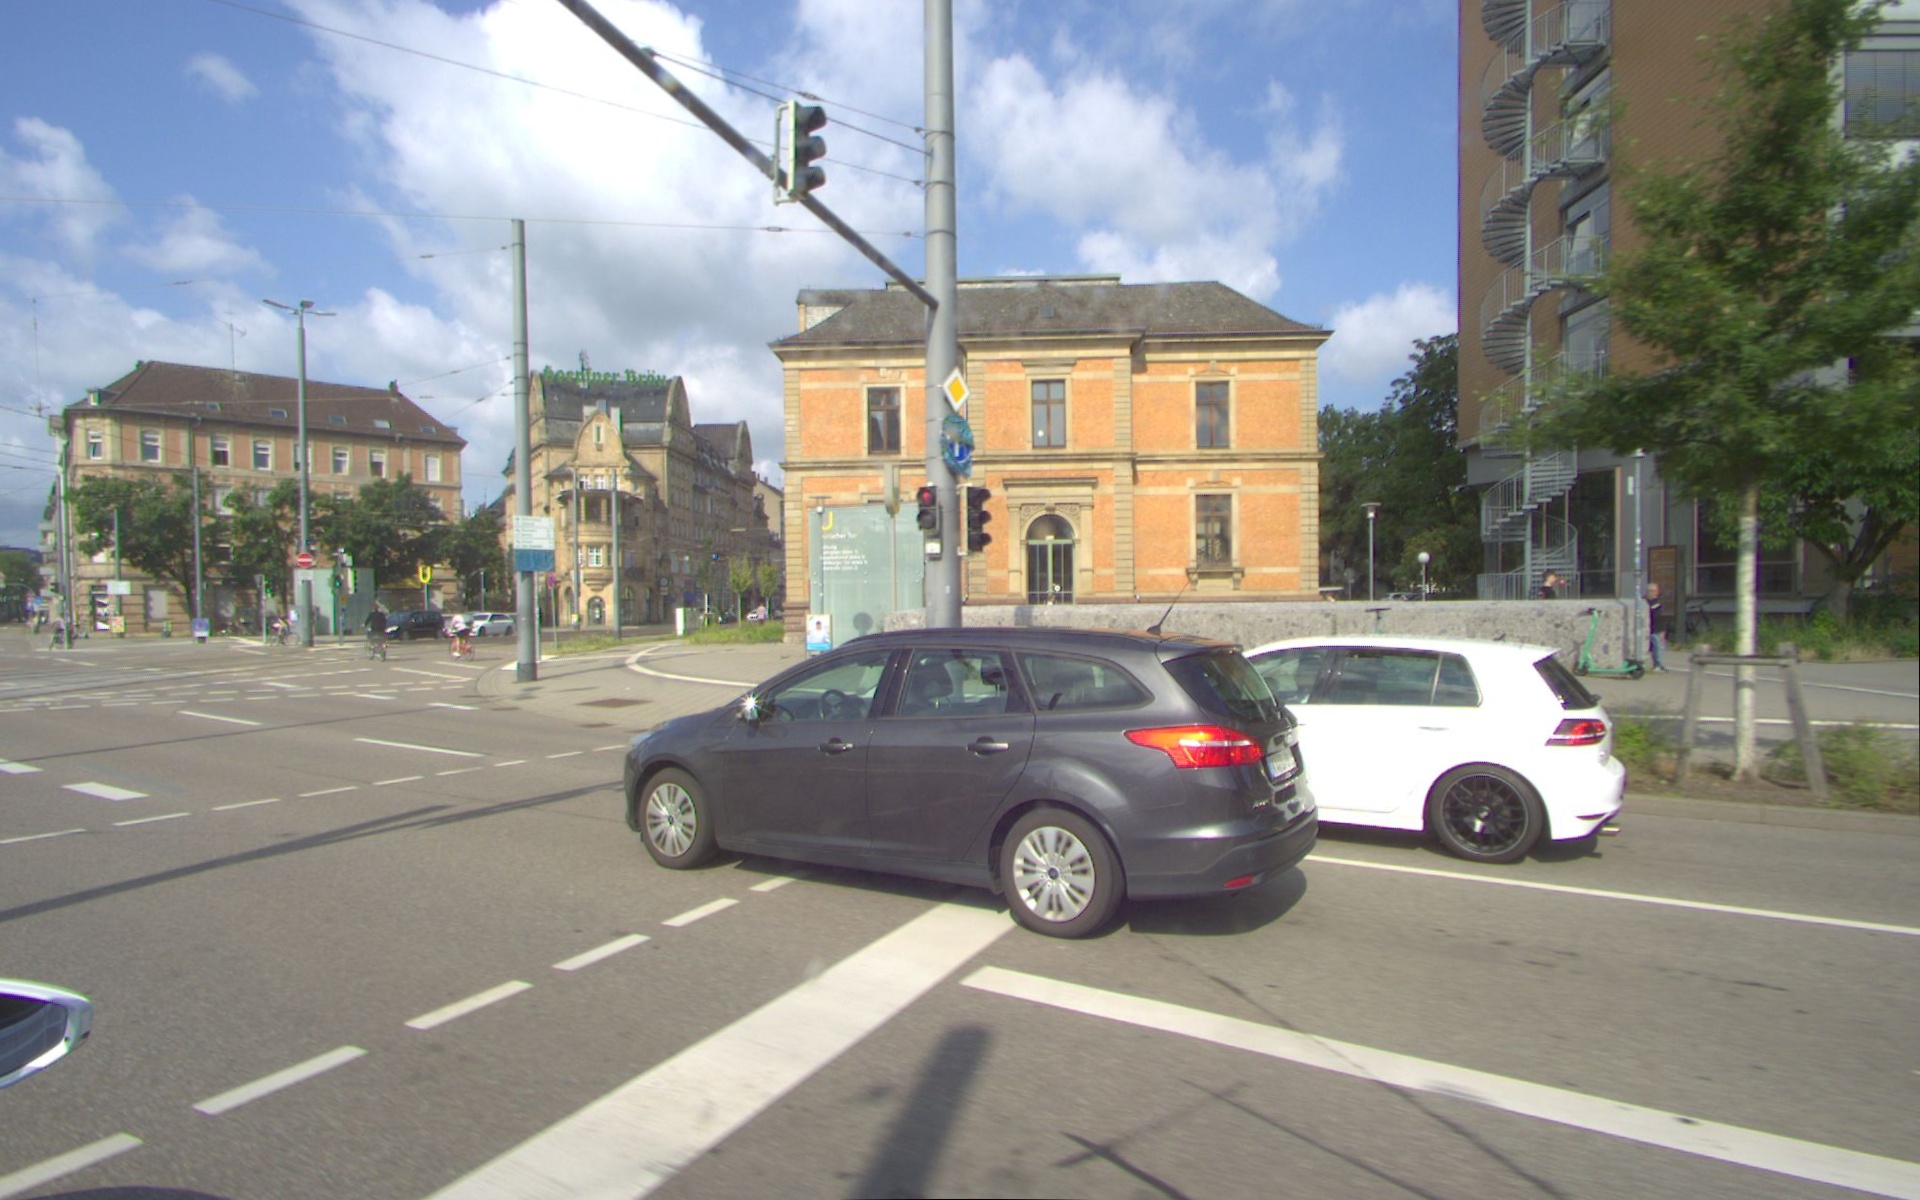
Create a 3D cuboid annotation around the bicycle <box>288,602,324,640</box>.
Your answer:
[{"bbox_3d":[-31.056,0.998,47.551,1.612,1.801,0.728,0,1,29],"label":"bicycle"}]

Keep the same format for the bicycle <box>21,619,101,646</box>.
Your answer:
[{"bbox_3d":[-42.513,1.522,47.399,0.886,1.186,2.673,0,0,23],"label":"bicycle"}]

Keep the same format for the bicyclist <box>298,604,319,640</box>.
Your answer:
[{"bbox_3d":[-30.861,1.038,47.417,0.646,1.693,0.571,0,1,29],"label":"bicyclist"}]

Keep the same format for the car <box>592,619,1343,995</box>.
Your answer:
[{"bbox_3d":[-0.076,0.894,5.982,4.193,1.548,1.765,-1,-1,31],"label":"car"}]

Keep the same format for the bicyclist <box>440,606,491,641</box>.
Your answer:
[{"bbox_3d":[-15.793,0.771,31.986,1.198,1.040,0.989,-4,-4,31],"label":"bicyclist"}]

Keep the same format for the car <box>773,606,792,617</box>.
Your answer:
[{"bbox_3d":[-25.978,1.608,146.511,1.815,1.559,3.821,-1,0,3],"label":"car"}]

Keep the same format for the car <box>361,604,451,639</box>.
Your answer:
[{"bbox_3d":[-28.681,1.159,52.014,1.961,1.761,4.343,0,-2,5],"label":"car"}]

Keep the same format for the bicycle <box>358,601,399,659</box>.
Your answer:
[{"bbox_3d":[-18.251,0.958,31.407,0.995,1.747,2.455,1,-2,-33],"label":"bicycle"}]

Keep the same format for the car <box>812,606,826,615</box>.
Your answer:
[{"bbox_3d":[-24.714,1.760,175.550,1.815,1.559,3.821,-1,0,3],"label":"car"}]

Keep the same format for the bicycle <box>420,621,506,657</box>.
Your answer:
[{"bbox_3d":[-15.913,1.274,32.043,3.065,1.040,0.992,-3,-4,32],"label":"bicycle"}]

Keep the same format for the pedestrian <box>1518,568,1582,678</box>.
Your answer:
[{"bbox_3d":[11.313,0.431,19.232,0.792,2.041,0.724,-2,2,6],"label":"pedestrian"}]

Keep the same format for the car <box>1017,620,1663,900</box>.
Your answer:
[{"bbox_3d":[2.673,0.979,7.533,4.172,1.464,1.677,1,-2,33],"label":"car"}]

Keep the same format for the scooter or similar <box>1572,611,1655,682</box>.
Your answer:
[{"bbox_3d":[11.081,0.773,17.007,0.396,1.146,1.184,-1,1,-19],"label":"scooter or similar"}]

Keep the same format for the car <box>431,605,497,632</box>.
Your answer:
[{"bbox_3d":[-30.725,1.114,62.151,1.721,1.621,3.999,-1,0,6],"label":"car"}]

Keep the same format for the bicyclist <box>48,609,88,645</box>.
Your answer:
[{"bbox_3d":[-42.428,1.264,47.627,0.773,1.680,1.194,0,0,23],"label":"bicyclist"}]

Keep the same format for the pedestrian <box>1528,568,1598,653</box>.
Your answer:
[{"bbox_3d":[11.938,0.188,19.829,0.753,1.610,0.934,-3,3,-28],"label":"pedestrian"}]

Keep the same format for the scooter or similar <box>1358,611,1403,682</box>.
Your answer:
[{"bbox_3d":[7.463,0.806,17.805,0.395,1.212,1.186,-1,1,6],"label":"scooter or similar"}]

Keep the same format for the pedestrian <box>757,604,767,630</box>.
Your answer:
[{"bbox_3d":[-11.710,0.984,59.097,0.497,1.525,0.499,-1,1,-2],"label":"pedestrian"}]

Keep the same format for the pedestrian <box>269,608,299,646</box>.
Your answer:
[{"bbox_3d":[-33.255,1.332,49.281,0.871,1.833,0.866,-1,-1,20],"label":"pedestrian"}]

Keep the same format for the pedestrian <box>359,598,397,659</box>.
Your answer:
[{"bbox_3d":[-18.242,0.895,31.372,0.982,1.865,0.990,1,-2,-33],"label":"pedestrian"}]

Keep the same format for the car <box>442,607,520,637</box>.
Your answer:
[{"bbox_3d":[-27.901,1.269,58.515,1.961,1.617,4.684,0,0,5],"label":"car"}]

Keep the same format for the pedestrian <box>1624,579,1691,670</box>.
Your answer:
[{"bbox_3d":[12.787,0.443,18.384,0.751,1.610,0.771,-1,3,13],"label":"pedestrian"}]
